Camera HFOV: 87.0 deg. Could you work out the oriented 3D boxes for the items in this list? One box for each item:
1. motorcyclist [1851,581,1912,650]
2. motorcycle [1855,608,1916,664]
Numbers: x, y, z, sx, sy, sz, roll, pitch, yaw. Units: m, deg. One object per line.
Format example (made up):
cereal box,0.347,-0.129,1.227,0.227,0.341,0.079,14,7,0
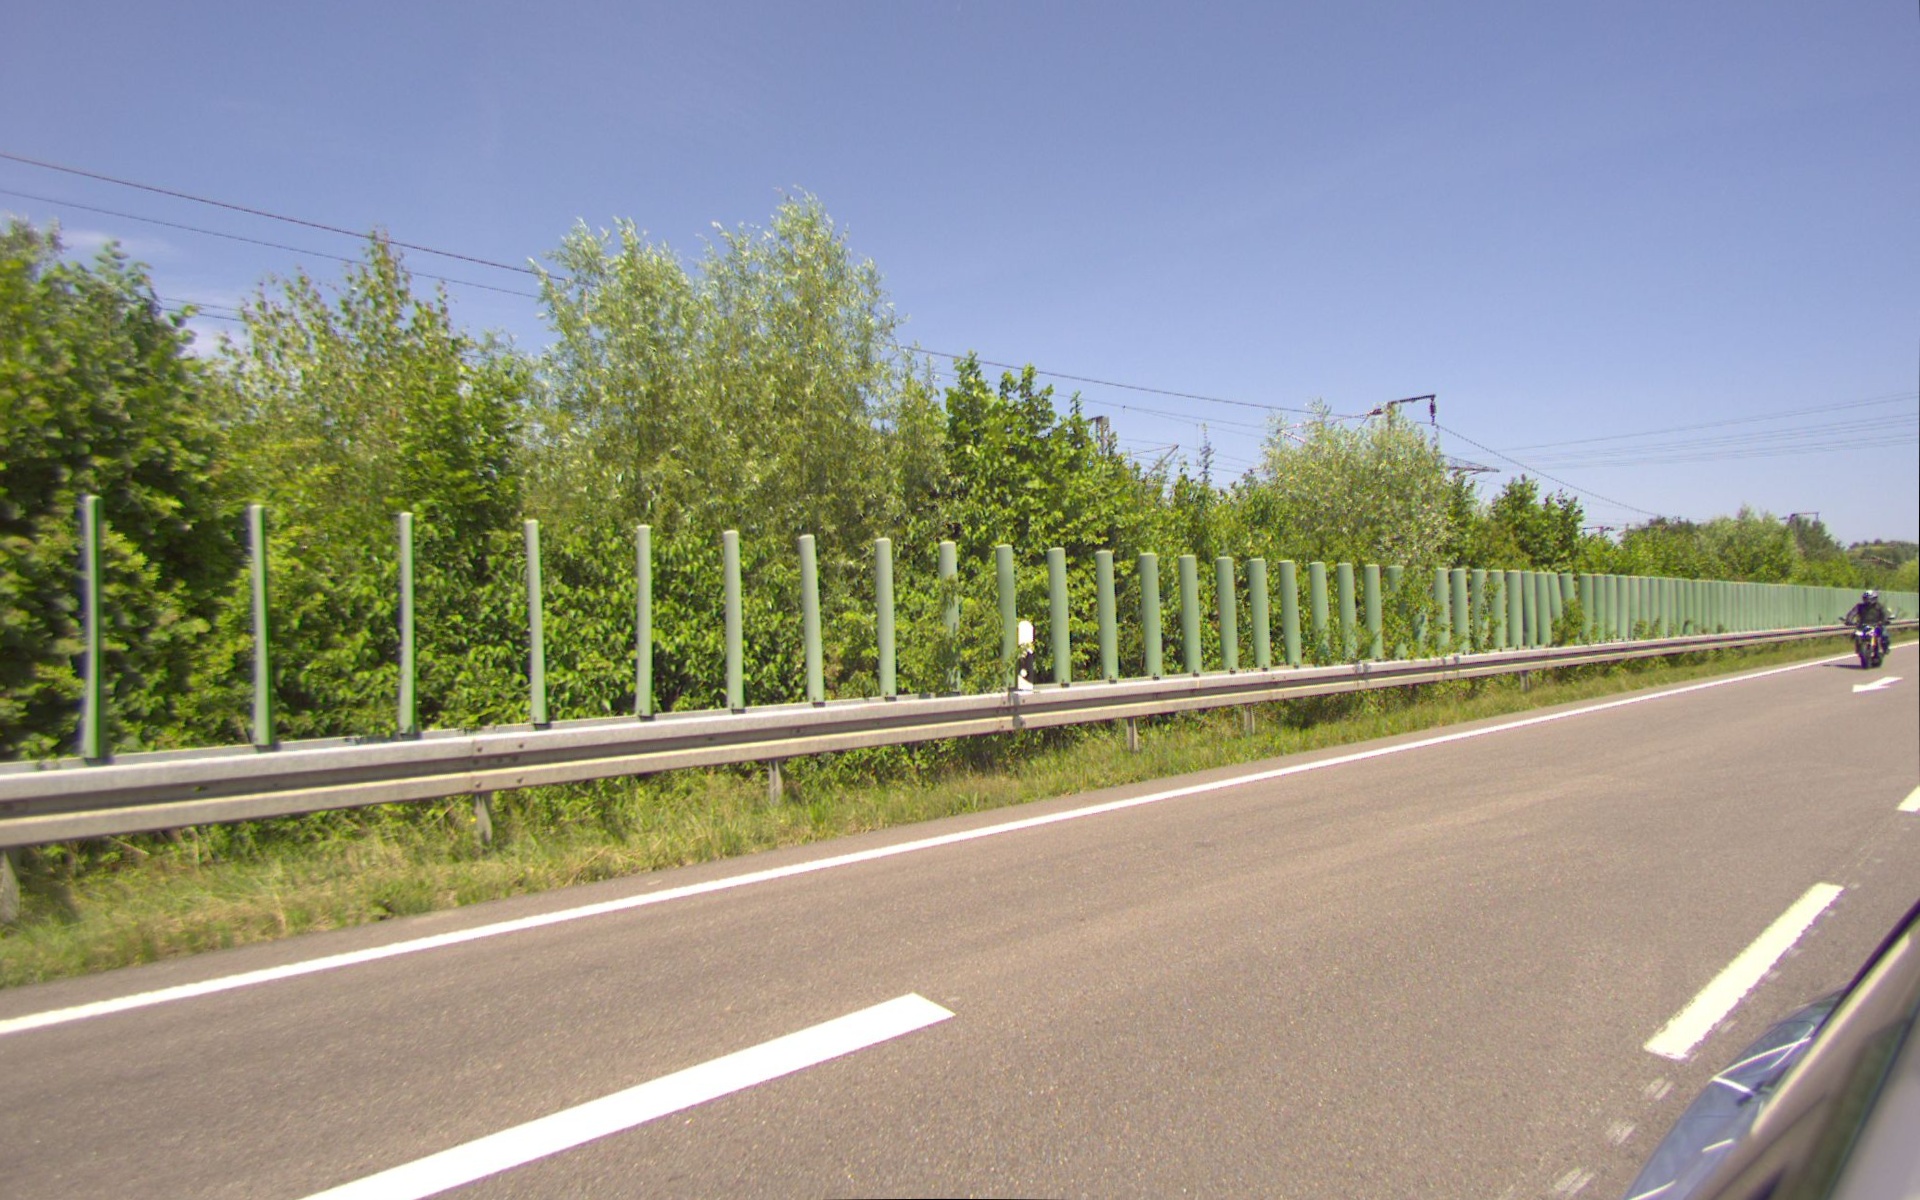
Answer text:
motorcyclist,20.572,0.326,22.590,0.984,1.495,0.891,0,0,-40
motorcycle,20.519,0.779,22.421,1.868,1.172,0.791,0,-1,-41
